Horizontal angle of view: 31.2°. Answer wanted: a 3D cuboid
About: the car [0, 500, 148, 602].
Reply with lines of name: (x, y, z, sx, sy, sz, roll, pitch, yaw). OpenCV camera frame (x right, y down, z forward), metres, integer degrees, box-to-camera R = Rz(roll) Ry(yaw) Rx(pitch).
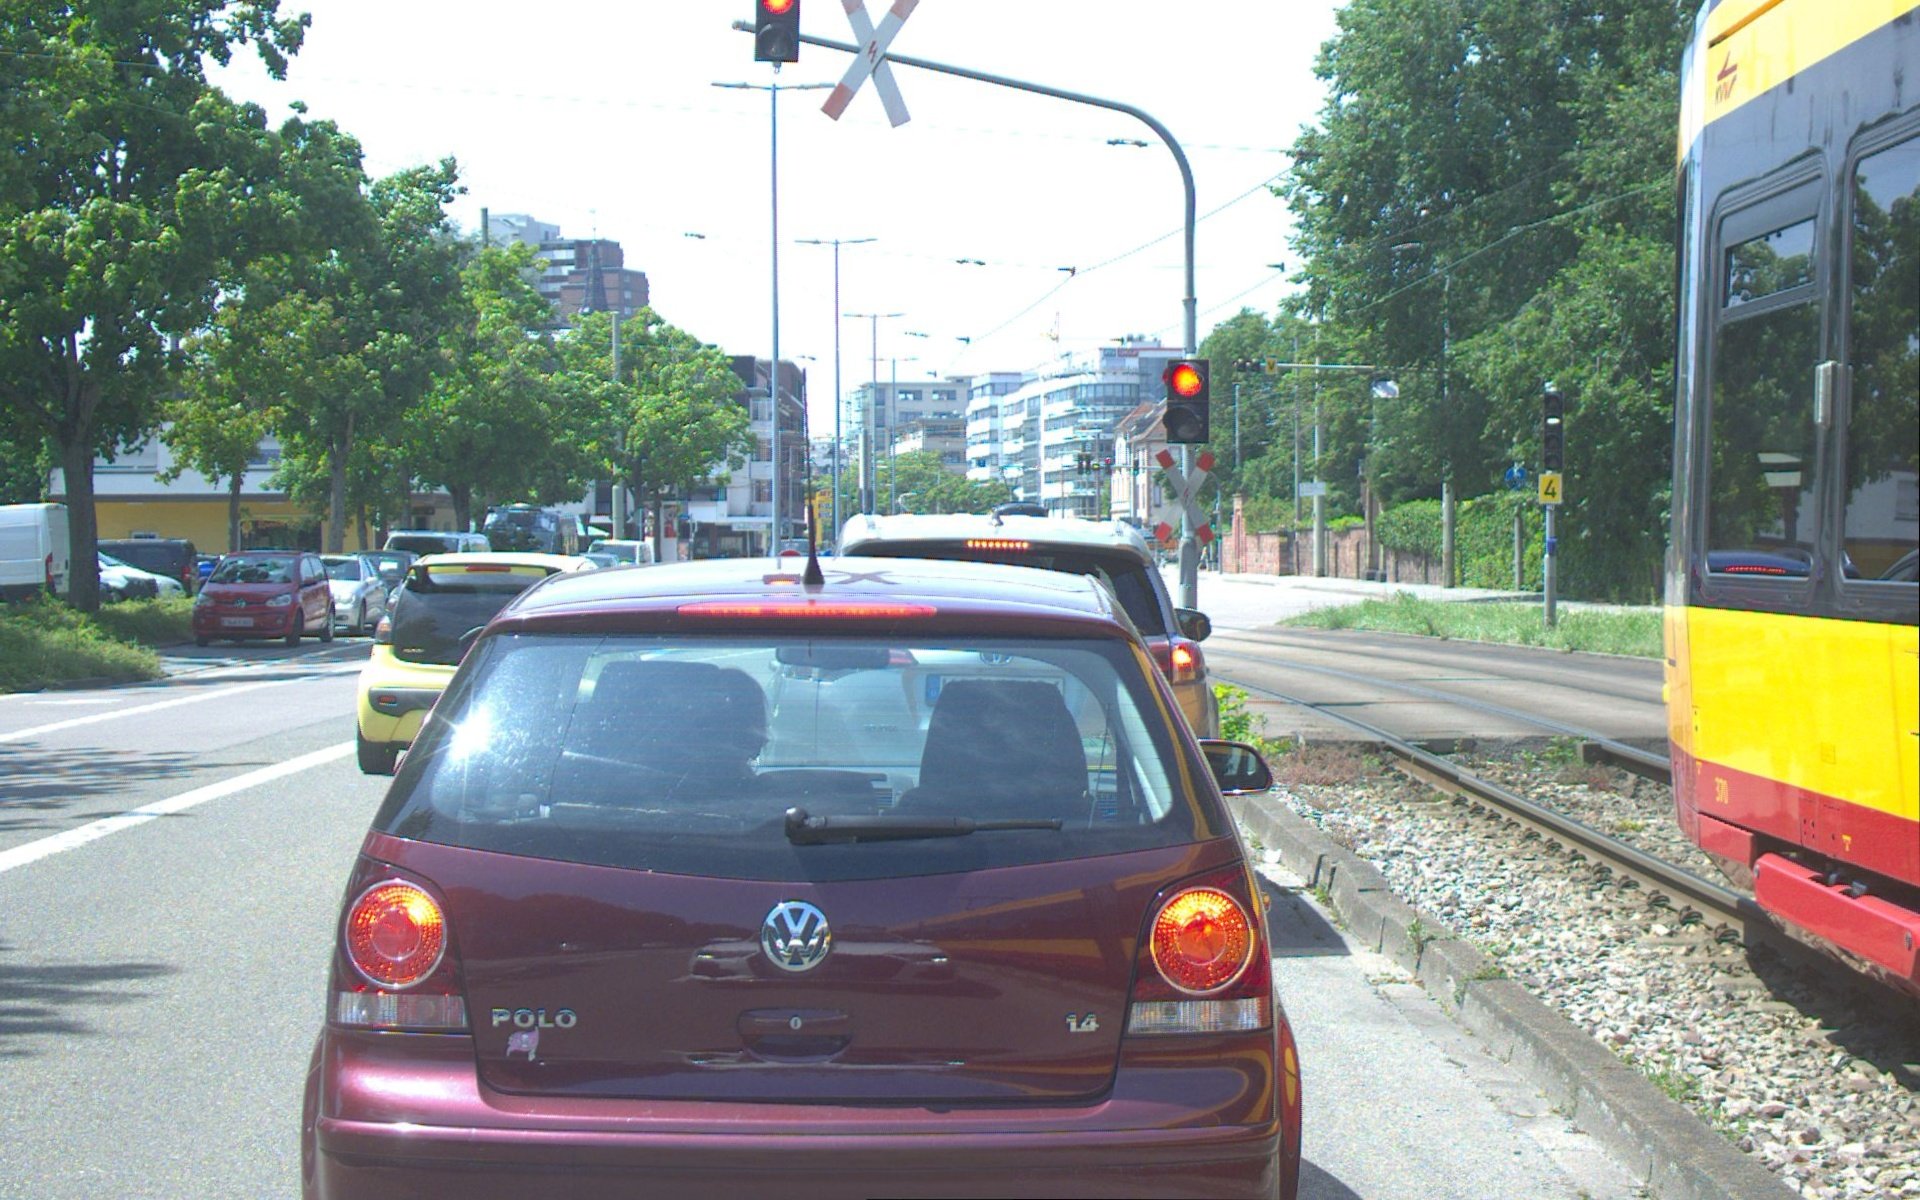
car: (-21.549, -1.148, 79.079, 5.097, 2.237, 2.378, 2, 0, 1)

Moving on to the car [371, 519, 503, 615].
car: (-10.785, -0.669, 71.192, 1.783, 1.875, 4.785, 2, 0, 2)

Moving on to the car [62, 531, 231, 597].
car: (-21.690, -0.955, 91.744, 4.020, 1.611, 1.816, 2, 0, 1)

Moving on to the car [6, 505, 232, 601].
car: (-21.331, -1.187, 87.333, 5.097, 2.237, 2.378, 2, 0, 1)

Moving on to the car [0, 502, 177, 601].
car: (-21.594, -1.167, 82.267, 5.097, 2.237, 2.378, 2, 0, 1)

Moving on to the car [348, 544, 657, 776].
car: (-3.038, 0.350, 23.416, 1.690, 1.406, 3.516, 1, 1, -1)

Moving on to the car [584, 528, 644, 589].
car: (-10.811, -1.278, 107.516, 1.774, 1.822, 4.001, 2, 0, -6)

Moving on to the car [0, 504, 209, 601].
car: (-21.368, -1.174, 84.740, 5.097, 2.237, 2.378, 2, 0, 1)

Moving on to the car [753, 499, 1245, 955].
car: (0.096, 0.428, 14.650, 1.777, 1.641, 4.000, 1, 1, -1)

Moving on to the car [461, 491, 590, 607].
car: (-10.598, -1.219, 84.231, 2.361, 2.683, 5.307, 2, 0, 0)

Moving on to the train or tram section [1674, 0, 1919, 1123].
train or tram section: (3.736, -0.439, 5.629, 2.741, 3.597, 10.950, 2, 1, 0)

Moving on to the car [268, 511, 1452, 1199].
car: (-0.197, 0.626, 6.962, 1.672, 1.516, 4.000, 2, 1, -1)

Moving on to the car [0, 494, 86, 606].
car: (-20.914, -1.085, 70.936, 5.097, 2.237, 2.378, 2, 0, 1)

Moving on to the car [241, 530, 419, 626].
car: (-11.113, -0.385, 60.942, 1.976, 1.595, 4.557, 2, 0, 4)

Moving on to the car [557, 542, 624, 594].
car: (-10.855, -0.932, 101.151, 1.614, 1.436, 4.000, 2, 0, -1)

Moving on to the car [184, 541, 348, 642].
car: (-10.934, -0.138, 54.408, 1.663, 1.491, 4.000, 2, 0, 1)
